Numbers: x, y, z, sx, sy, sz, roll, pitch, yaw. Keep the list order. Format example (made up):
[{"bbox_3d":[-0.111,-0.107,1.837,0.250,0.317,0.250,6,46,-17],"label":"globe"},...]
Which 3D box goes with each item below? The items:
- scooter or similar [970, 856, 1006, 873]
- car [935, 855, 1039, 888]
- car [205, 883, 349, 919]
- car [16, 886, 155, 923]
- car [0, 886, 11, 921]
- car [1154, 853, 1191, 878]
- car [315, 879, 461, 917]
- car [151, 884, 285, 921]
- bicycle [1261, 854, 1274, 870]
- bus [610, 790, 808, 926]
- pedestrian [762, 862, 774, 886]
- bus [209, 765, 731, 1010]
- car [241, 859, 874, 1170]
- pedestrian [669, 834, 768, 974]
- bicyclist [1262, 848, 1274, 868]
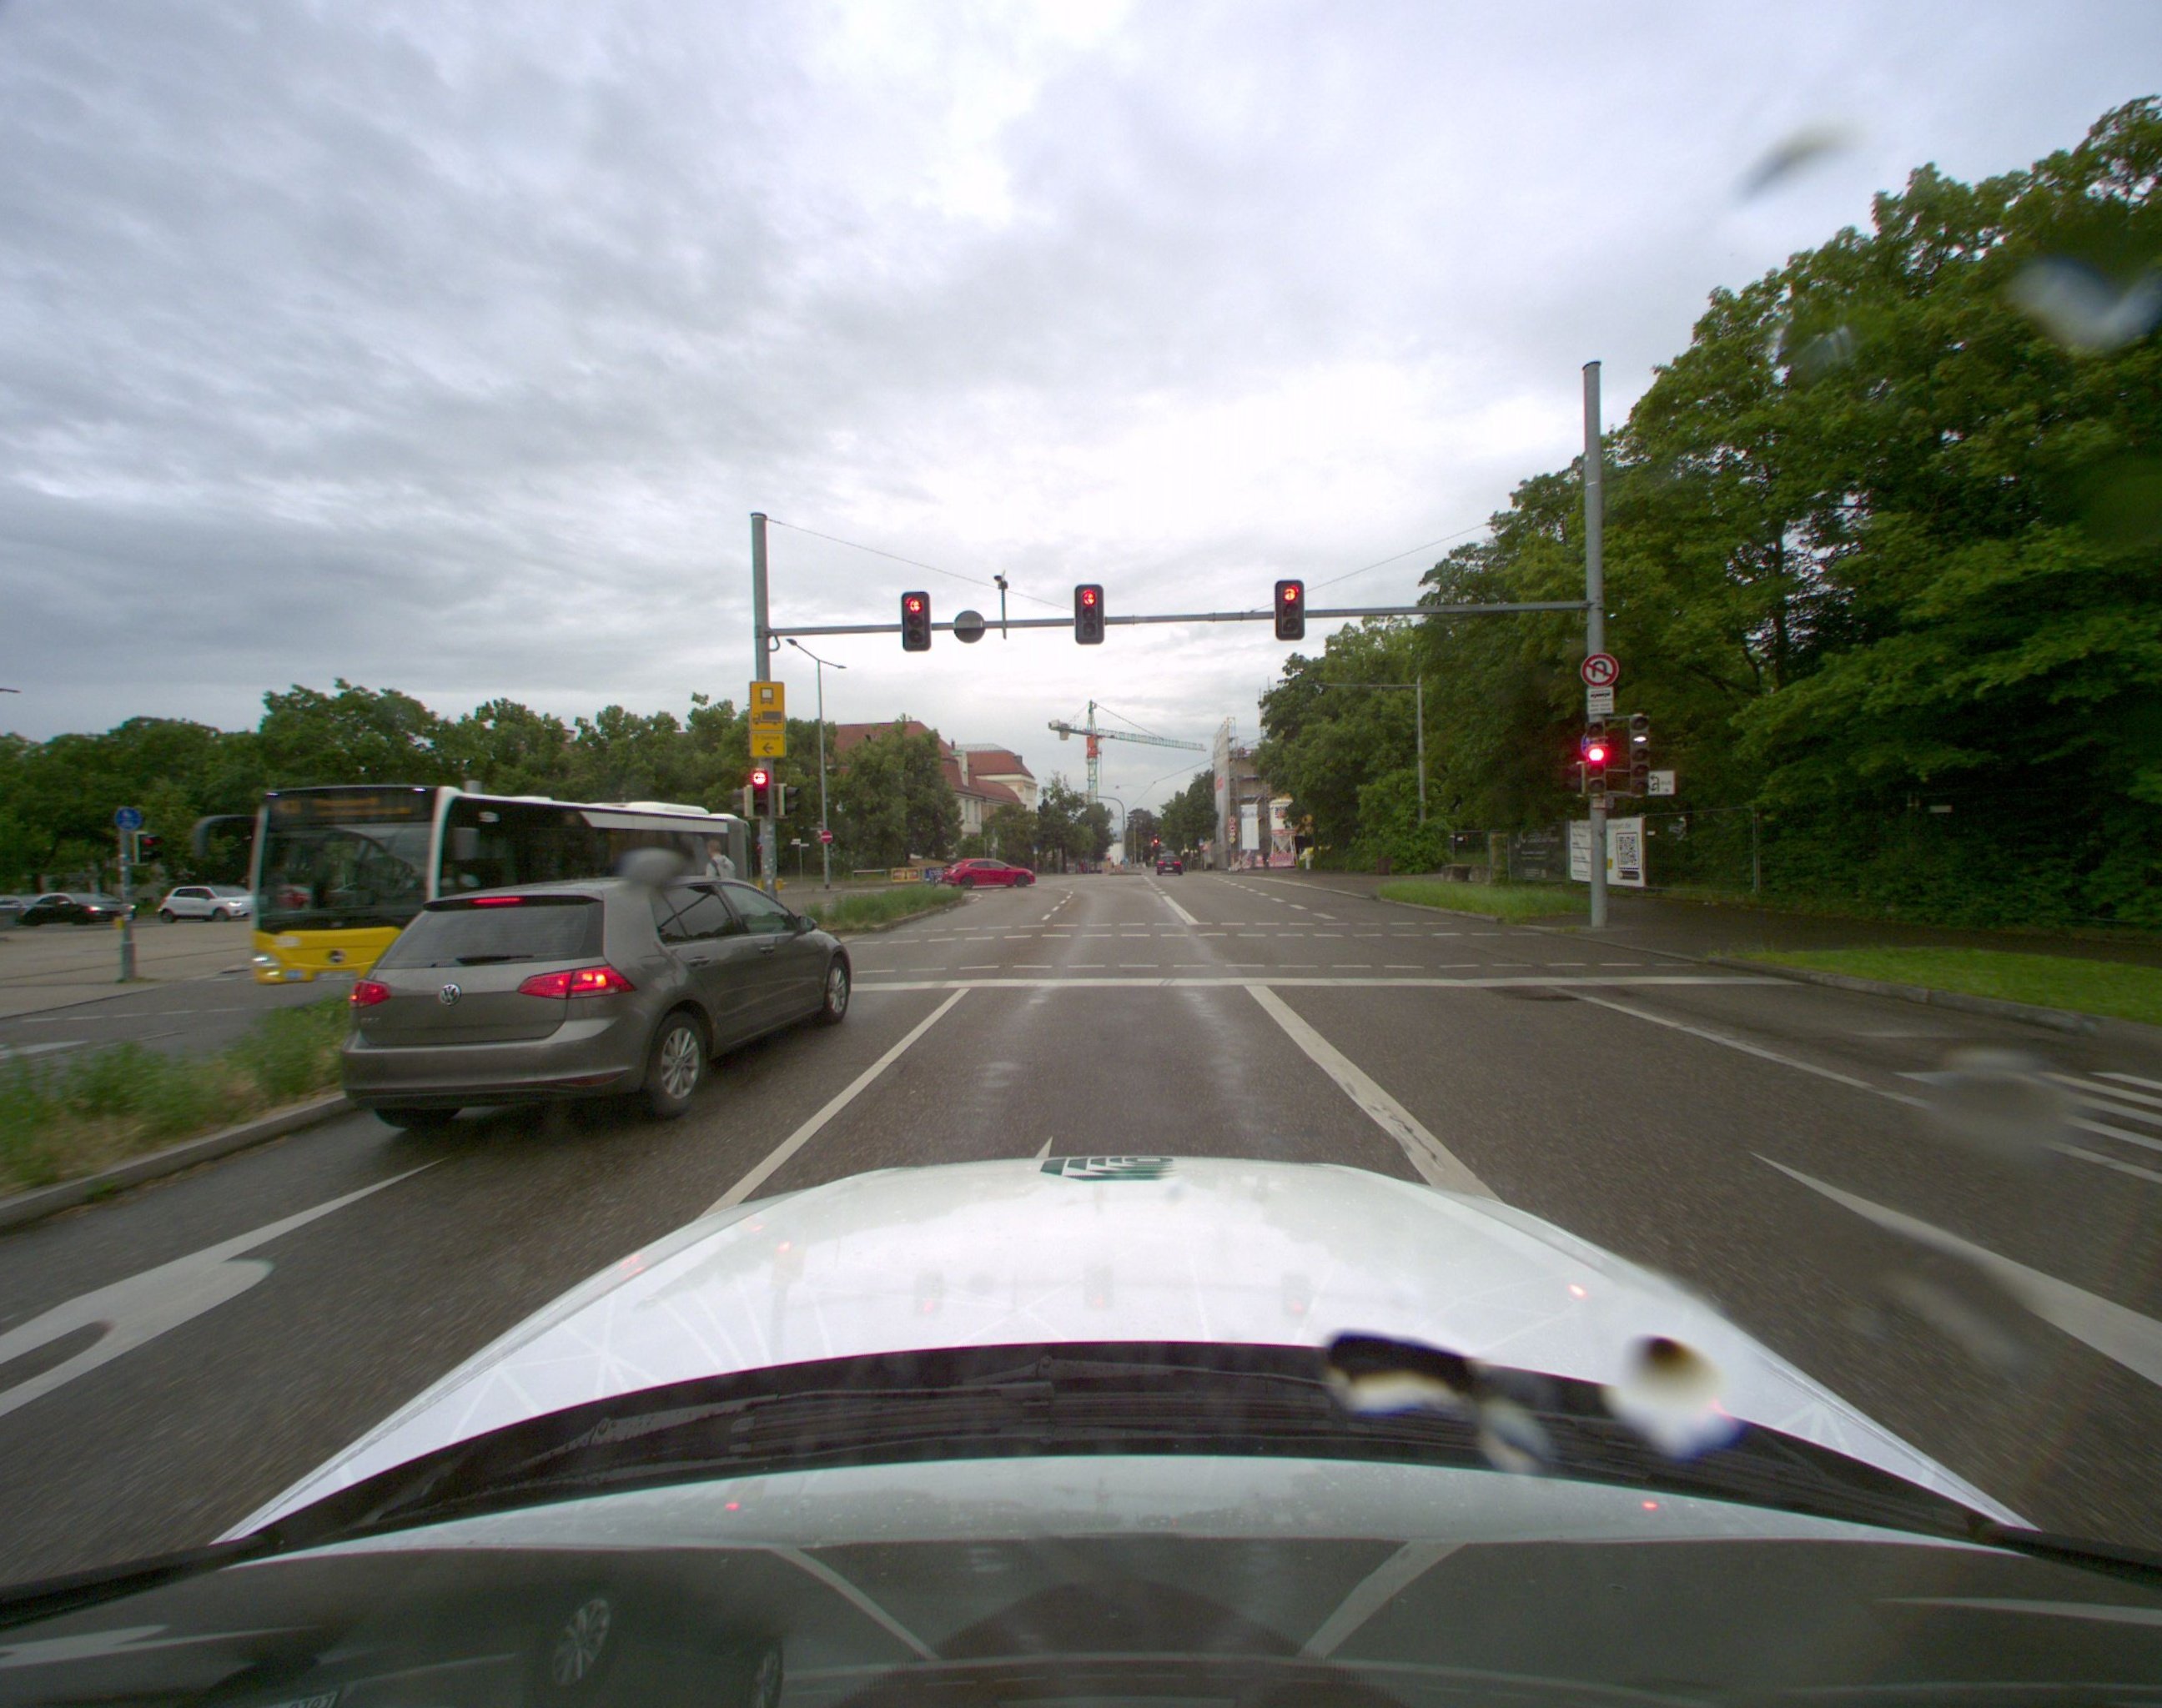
[{"bbox_3d":[-8.296,0.938,72.934,3.077,1.440,0.949,-2,0,0],"label":"scooter or similar"},{"bbox_3d":[-4.496,0.783,38.893,4.528,1.425,1.983,-1,0,-26],"label":"car"},{"bbox_3d":[-36.803,2.143,37.367,4.512,1.425,1.999,-1,0,-1],"label":"car"},{"bbox_3d":[-43.374,2.197,35.541,3.759,1.425,1.846,-1,0,1],"label":"car"},{"bbox_3d":[-51.092,2.284,36.206,4.513,1.530,1.964,-1,0,1],"label":"car"},{"bbox_3d":[6.589,0.881,58.153,1.978,1.706,4.016,0,-2,16],"label":"car"},{"bbox_3d":[-29.128,1.823,34.347,4.430,1.425,2.000,-1,0,1],"label":"car"},{"bbox_3d":[-36.974,2.061,34.974,3.759,1.425,1.846,-1,0,1],"label":"car"},{"bbox_3d":[14.411,0.598,62.913,0.717,1.193,1.757,0,-2,4],"label":"bicycle"},{"bbox_3d":[-10.727,0.091,24.677,2.885,3.307,8.555,-2,0,-7],"label":"bus"},{"bbox_3d":[-20.343,1.292,52.965,0.619,1.490,0.768,-2,0,-13],"label":"pedestrian"},{"bbox_3d":[-10.045,0.430,15.503,2.881,3.103,9.746,-2,0,-3],"label":"bus"},{"bbox_3d":[-3.173,0.825,6.171,1.797,1.429,4.201,-3,0,4],"label":"car"},{"bbox_3d":[-5.510,0.739,12.422,0.935,2.013,0.849,-4,-1,8],"label":"pedestrian"},{"bbox_3d":[14.413,0.320,62.893,0.717,1.564,1.144,0,-2,4],"label":"bicyclist"}]
